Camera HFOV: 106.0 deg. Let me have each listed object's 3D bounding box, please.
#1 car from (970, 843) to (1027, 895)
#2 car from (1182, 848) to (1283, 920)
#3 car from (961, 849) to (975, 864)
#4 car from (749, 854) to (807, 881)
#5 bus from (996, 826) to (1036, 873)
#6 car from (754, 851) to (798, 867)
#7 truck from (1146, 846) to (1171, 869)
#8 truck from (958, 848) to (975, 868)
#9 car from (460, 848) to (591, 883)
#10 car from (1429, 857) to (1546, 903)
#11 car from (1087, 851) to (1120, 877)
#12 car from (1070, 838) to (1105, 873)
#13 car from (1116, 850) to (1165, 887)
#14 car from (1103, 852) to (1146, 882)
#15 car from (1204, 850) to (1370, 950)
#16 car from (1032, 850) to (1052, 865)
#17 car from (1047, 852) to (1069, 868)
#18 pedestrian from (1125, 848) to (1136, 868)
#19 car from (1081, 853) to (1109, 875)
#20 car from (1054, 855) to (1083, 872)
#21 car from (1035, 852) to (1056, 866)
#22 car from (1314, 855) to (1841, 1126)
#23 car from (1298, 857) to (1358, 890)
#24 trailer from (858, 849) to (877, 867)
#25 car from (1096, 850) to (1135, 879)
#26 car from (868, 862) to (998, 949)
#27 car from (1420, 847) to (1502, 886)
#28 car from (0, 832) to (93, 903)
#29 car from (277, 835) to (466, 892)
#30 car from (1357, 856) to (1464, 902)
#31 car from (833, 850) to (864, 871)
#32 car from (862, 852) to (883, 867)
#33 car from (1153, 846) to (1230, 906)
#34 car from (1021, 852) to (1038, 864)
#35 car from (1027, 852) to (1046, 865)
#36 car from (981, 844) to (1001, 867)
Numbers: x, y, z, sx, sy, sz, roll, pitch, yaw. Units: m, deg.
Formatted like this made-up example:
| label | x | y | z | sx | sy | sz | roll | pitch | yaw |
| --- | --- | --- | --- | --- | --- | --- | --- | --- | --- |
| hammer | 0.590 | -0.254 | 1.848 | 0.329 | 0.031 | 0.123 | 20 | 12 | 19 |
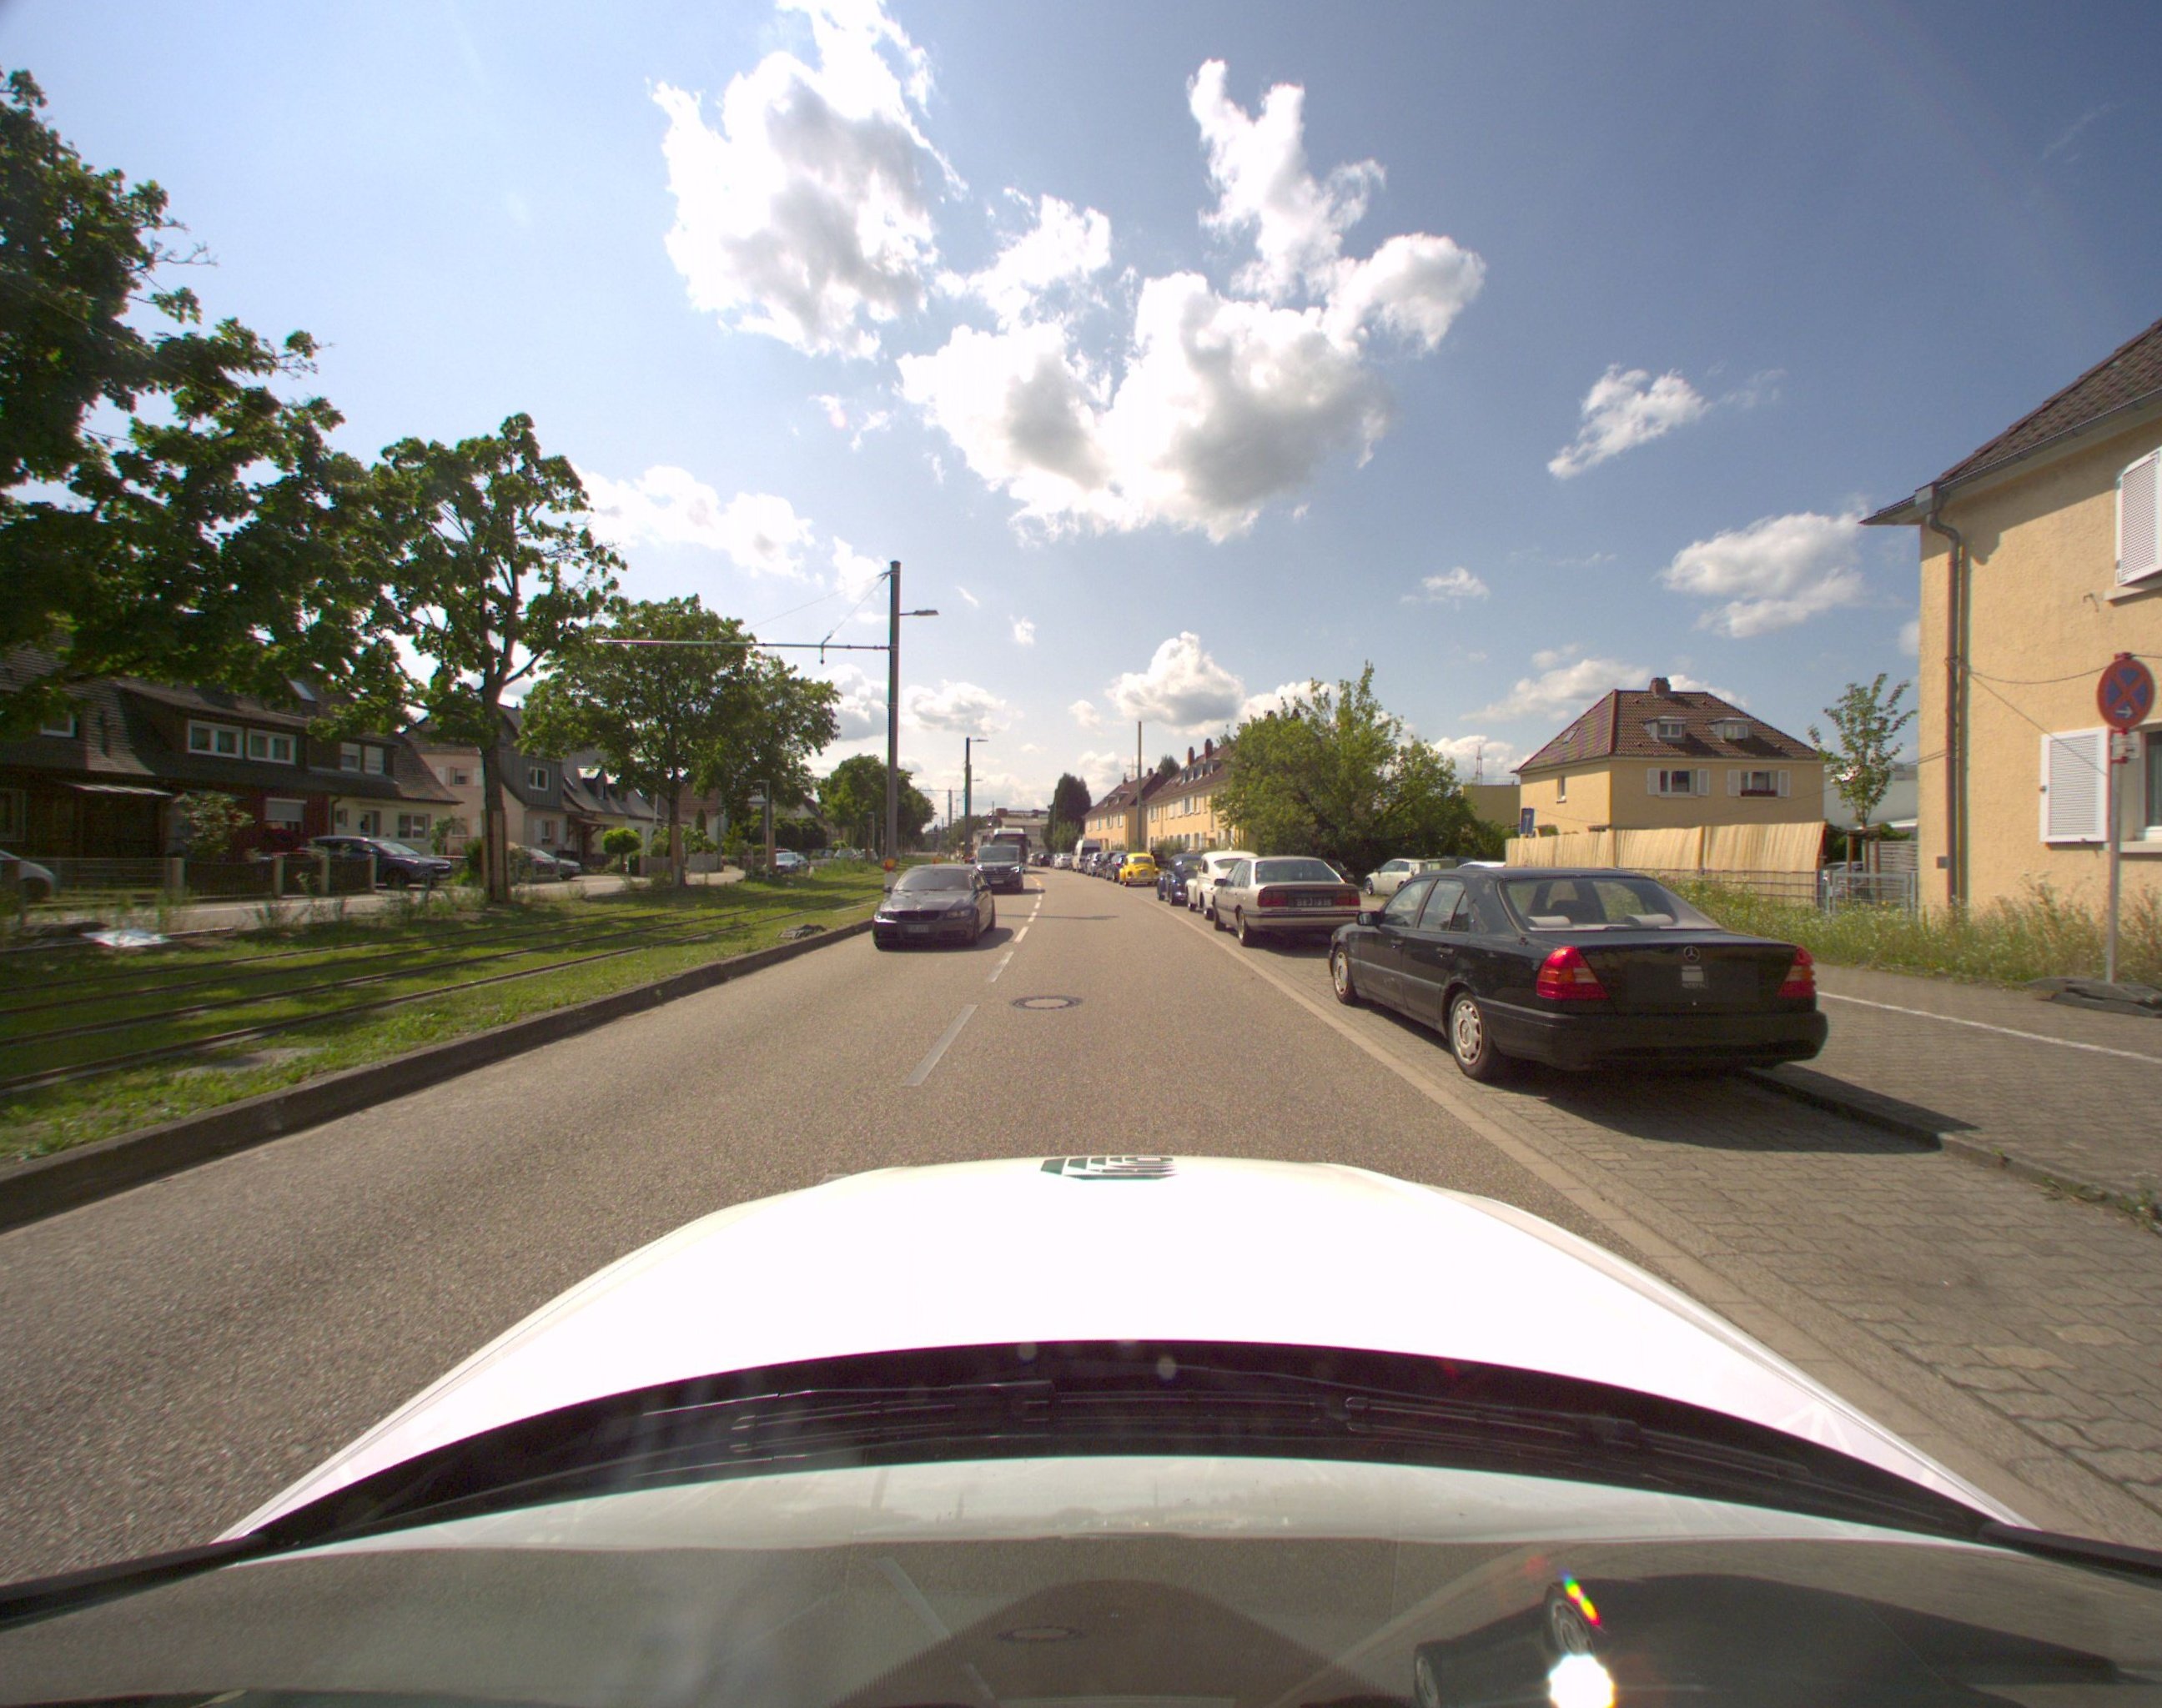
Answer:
| label | x | y | z | sx | sy | sz | roll | pitch | yaw |
| --- | --- | --- | --- | --- | --- | --- | --- | --- | --- |
| car | -3.342 | 0.568 | 33.851 | 1.950 | 1.966 | 5.289 | -1 | 0 | -2 |
| car | 3.468 | 0.632 | 19.416 | 1.572 | 1.513 | 4.458 | 0 | 0 | 0 |
| car | -14.530 | 0.316 | 104.551 | 1.733 | 1.773 | 4.297 | 0 | 0 | -8 |
| car | -16.770 | 0.720 | 45.323 | 1.816 | 1.406 | 4.804 | 0 | 0 | -5 |
| bus | -5.404 | -0.337 | 65.666 | 2.634 | 3.412 | 12.218 | -1 | 0 | -7 |
| car | -31.121 | 0.496 | 83.156 | 3.991 | 1.571 | 1.787 | 0 | 0 | -13 |
| truck | 5.691 | 0.245 | 59.952 | 1.344 | 1.688 | 2.436 | 0 | 0 | -6 |
| truck | -20.864 | 0.725 | 148.353 | 2.562 | 3.459 | 7.119 | -2 | 0 | -13 |
| car | -24.918 | 0.502 | 36.668 | 4.463 | 1.523 | 1.922 | 0 | 0 | -6 |
| car | 13.448 | 0.811 | 27.220 | 1.633 | 1.374 | 4.081 | 0 | 0 | -5 |
| car | 1.376 | 0.611 | 51.691 | 1.634 | 1.602 | 4.021 | 0 | 0 | -6 |
| car | 0.441 | 0.090 | 61.766 | 1.927 | 2.481 | 5.504 | -1 | 0 | -7 |
| car | 2.653 | 0.634 | 37.022 | 1.633 | 1.482 | 3.926 | -3 | 1 | -4 |
| car | 2.225 | 0.647 | 42.339 | 1.634 | 1.482 | 4.116 | 0 | 0 | -6 |
| car | 3.379 | 0.672 | 14.318 | 1.701 | 1.449 | 4.834 | 0 | 0 | 0 |
| car | -4.521 | 0.435 | 93.598 | 1.764 | 1.643 | 3.986 | -2 | 0 | -10 |
| car | -2.285 | 0.564 | 79.787 | 1.621 | 1.417 | 3.986 | -2 | 0 | -10 |
| pedestrian | 4.147 | 0.349 | 68.632 | 0.852 | 1.652 | 0.636 | 1 | 0 | -6 |
| car | 0.926 | 0.649 | 56.430 | 1.534 | 1.445 | 3.730 | 0 | 0 | -6 |
| car | -1.147 | 0.849 | 73.287 | 1.799 | 1.458 | 4.747 | -2 | 0 | -11 |
| car | -3.920 | 0.537 | 88.549 | 1.764 | 1.417 | 3.986 | -2 | 0 | -10 |
| car | 3.322 | 0.738 | 6.616 | 1.572 | 1.449 | 4.452 | 0 | 0 | 0 |
| car | 10.816 | 0.809 | 35.925 | 1.629 | 1.355 | 4.091 | 0 | 0 | 3 |
| trailer | -21.121 | 0.374 | 80.737 | 1.565 | 1.678 | 3.361 | 0 | 0 | -10 |
| car | 1.970 | 0.602 | 47.687 | 1.635 | 1.602 | 3.921 | 0 | 0 | -8 |
| car | -2.620 | 0.856 | 15.352 | 1.719 | 1.389 | 4.120 | 0 | 0 | -1 |
| car | 16.848 | 0.512 | 36.326 | 1.632 | 1.547 | 4.085 | -3 | 0 | -1 |
| car | -24.127 | 0.288 | 17.196 | 1.725 | 1.517 | 4.039 | 0 | 0 | -4 |
| car | -24.239 | 0.322 | 27.980 | 4.463 | 1.836 | 2.061 | 0 | 0 | -6 |
| car | 10.767 | 0.762 | 26.906 | 1.633 | 1.374 | 4.081 | 0 | 0 | -5 |
| car | -18.747 | 0.496 | 65.781 | 1.811 | 1.586 | 4.553 | -2 | 0 | -9 |
| car | -22.148 | 0.553 | 86.732 | 1.728 | 1.505 | 4.553 | -2 | 0 | -9 |
| car | 3.237 | 0.608 | 24.550 | 1.545 | 1.641 | 4.241 | 0 | 0 | -3 |
| car | -6.642 | 0.529 | 104.499 | 1.764 | 1.439 | 3.986 | -2 | 0 | -10 |
| car | -5.370 | 0.491 | 98.421 | 1.764 | 1.476 | 3.986 | -2 | 0 | -10 |
| car | -9.855 | 0.138 | 89.319 | 2.100 | 2.443 | 5.558 | 0 | 0 | -7 |
